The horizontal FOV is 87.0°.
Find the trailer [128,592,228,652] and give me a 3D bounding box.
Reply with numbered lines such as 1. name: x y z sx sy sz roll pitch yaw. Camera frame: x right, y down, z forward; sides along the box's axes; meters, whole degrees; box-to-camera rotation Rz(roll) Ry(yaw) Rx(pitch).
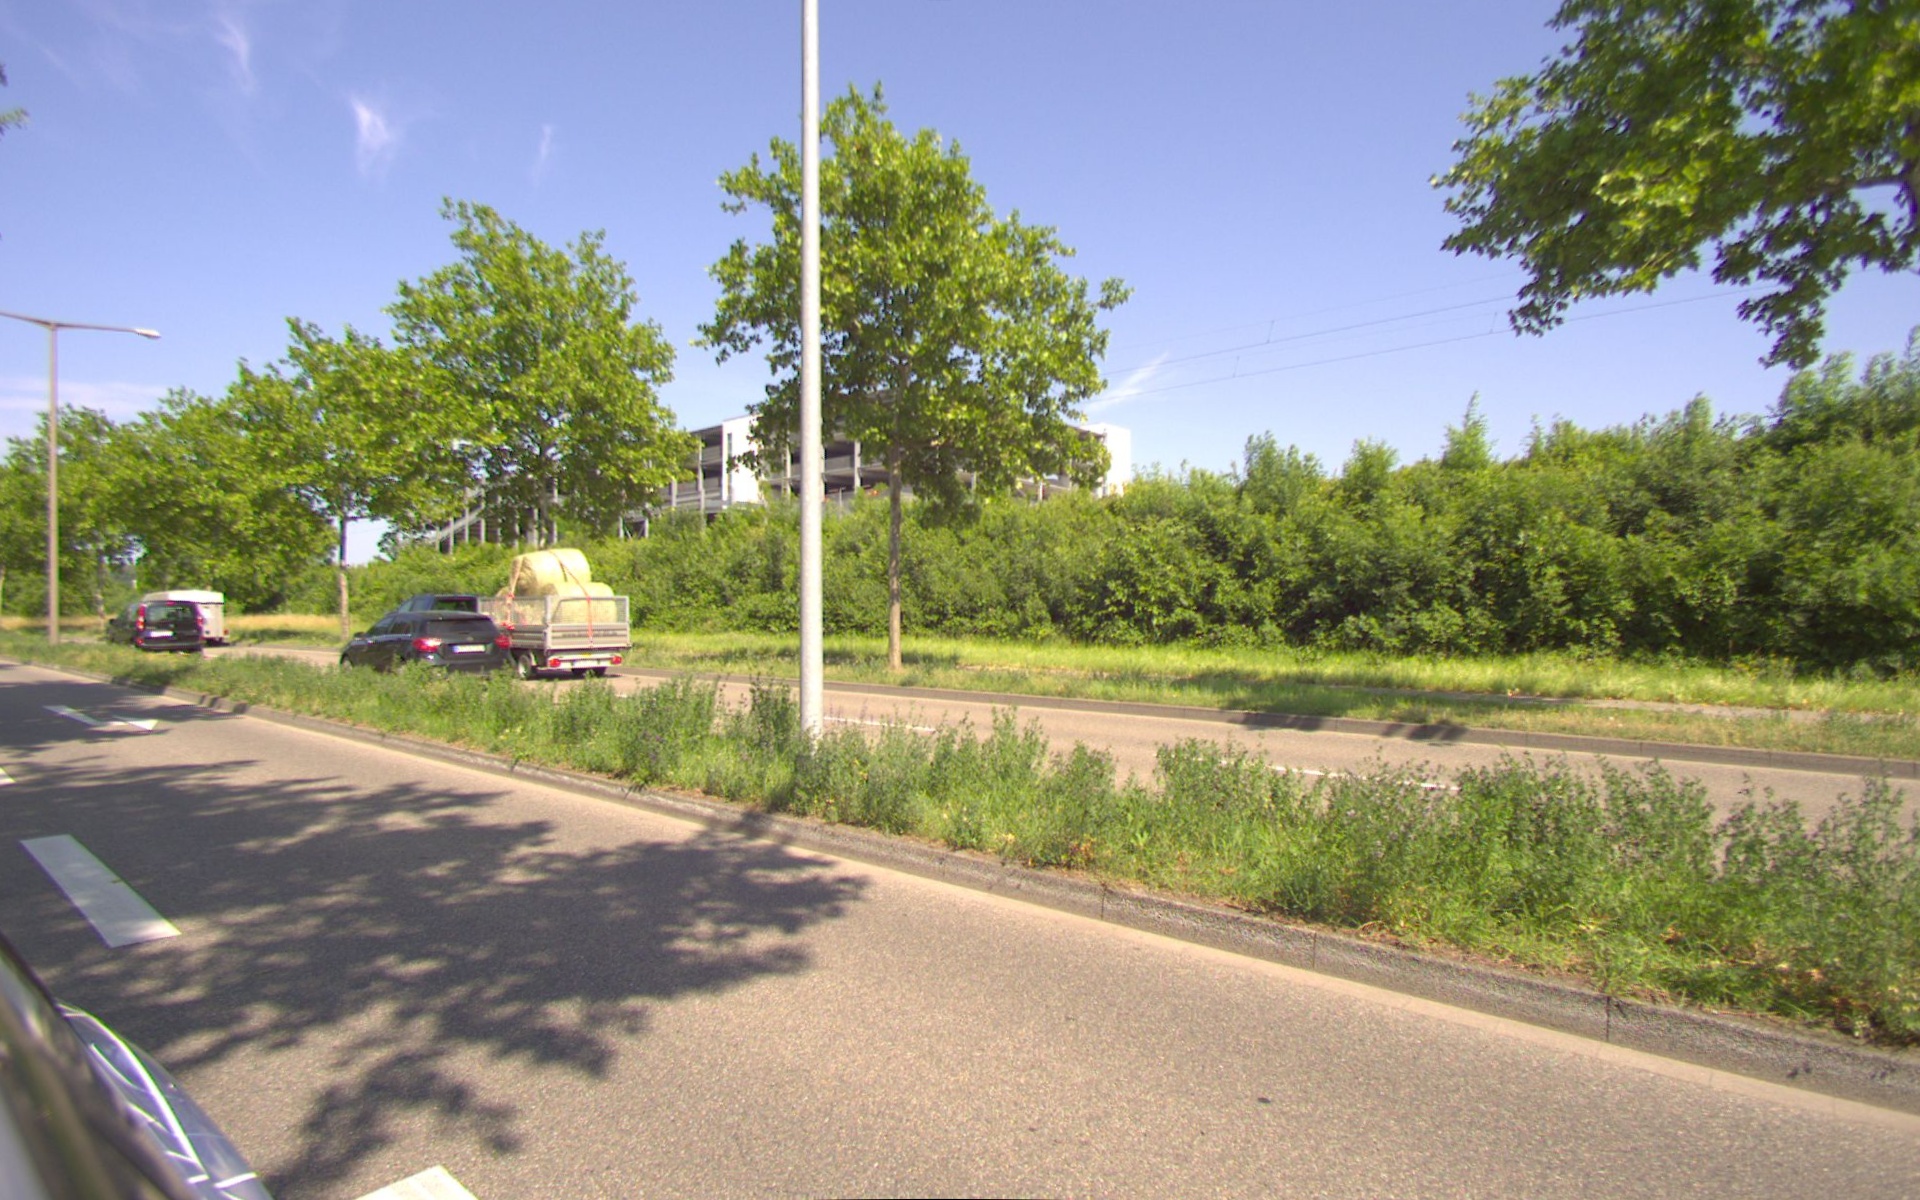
1. trailer: -31.809 0.853 41.114 5.537 2.282 2.284 0 -1 42

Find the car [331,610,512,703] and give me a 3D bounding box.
1. car: -9.737 0.926 18.194 3.787 1.483 1.586 0 0 40

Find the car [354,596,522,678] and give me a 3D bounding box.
1. car: -12.959 0.846 24.958 5.372 1.803 1.746 0 1 40

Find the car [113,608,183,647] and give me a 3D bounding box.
1. car: -35.471 1.155 44.183 4.360 1.634 1.697 0 -1 42

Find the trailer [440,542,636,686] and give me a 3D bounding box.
1. trailer: -9.144 0.273 21.729 4.825 2.764 1.861 0 1 40

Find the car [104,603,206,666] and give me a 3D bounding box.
1. car: -25.534 1.038 32.042 4.229 1.823 1.713 0 1 40
